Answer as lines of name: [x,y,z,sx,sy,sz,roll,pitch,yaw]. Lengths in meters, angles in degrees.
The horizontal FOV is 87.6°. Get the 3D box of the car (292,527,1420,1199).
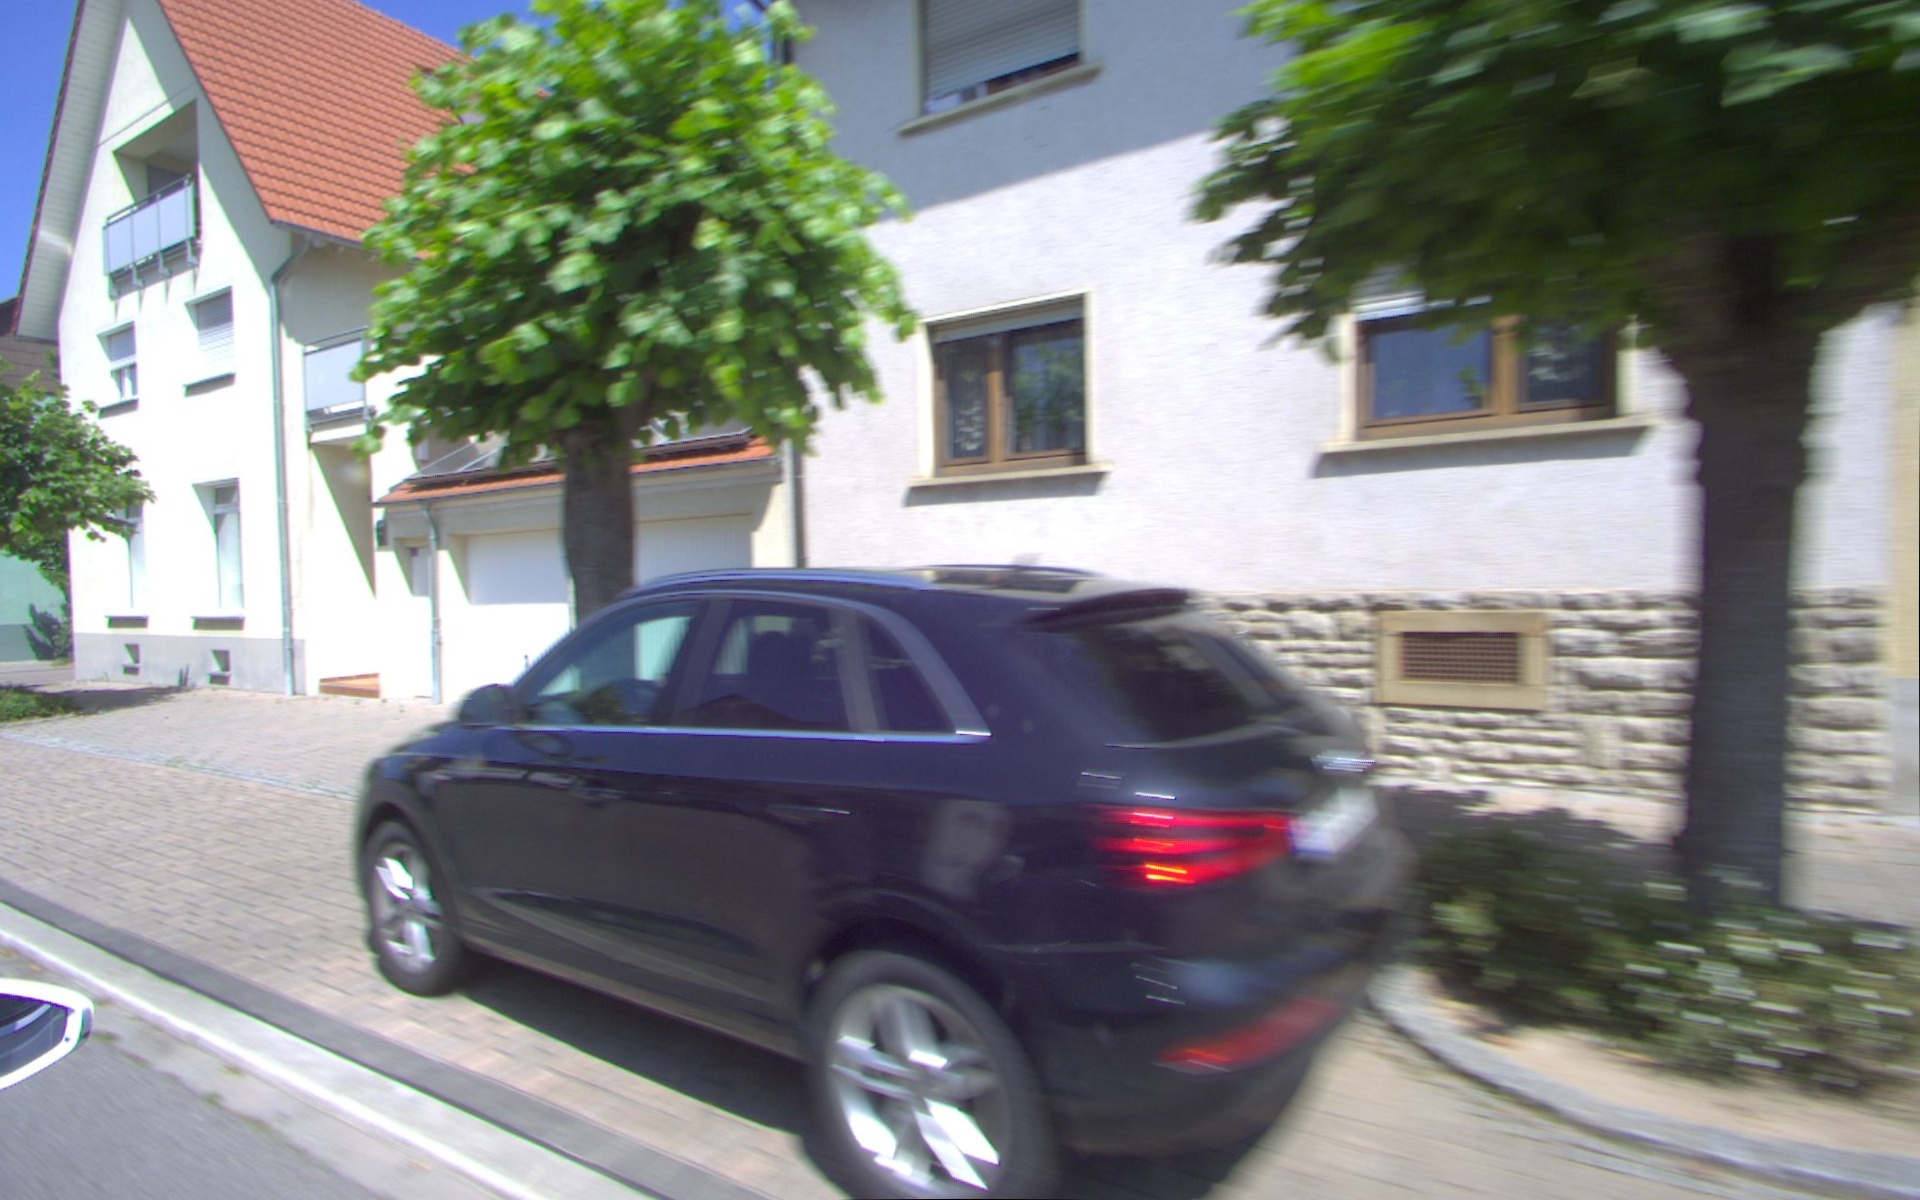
car: [-0.621,0.643,3.749,4.003,1.608,1.817,0,3,36]
